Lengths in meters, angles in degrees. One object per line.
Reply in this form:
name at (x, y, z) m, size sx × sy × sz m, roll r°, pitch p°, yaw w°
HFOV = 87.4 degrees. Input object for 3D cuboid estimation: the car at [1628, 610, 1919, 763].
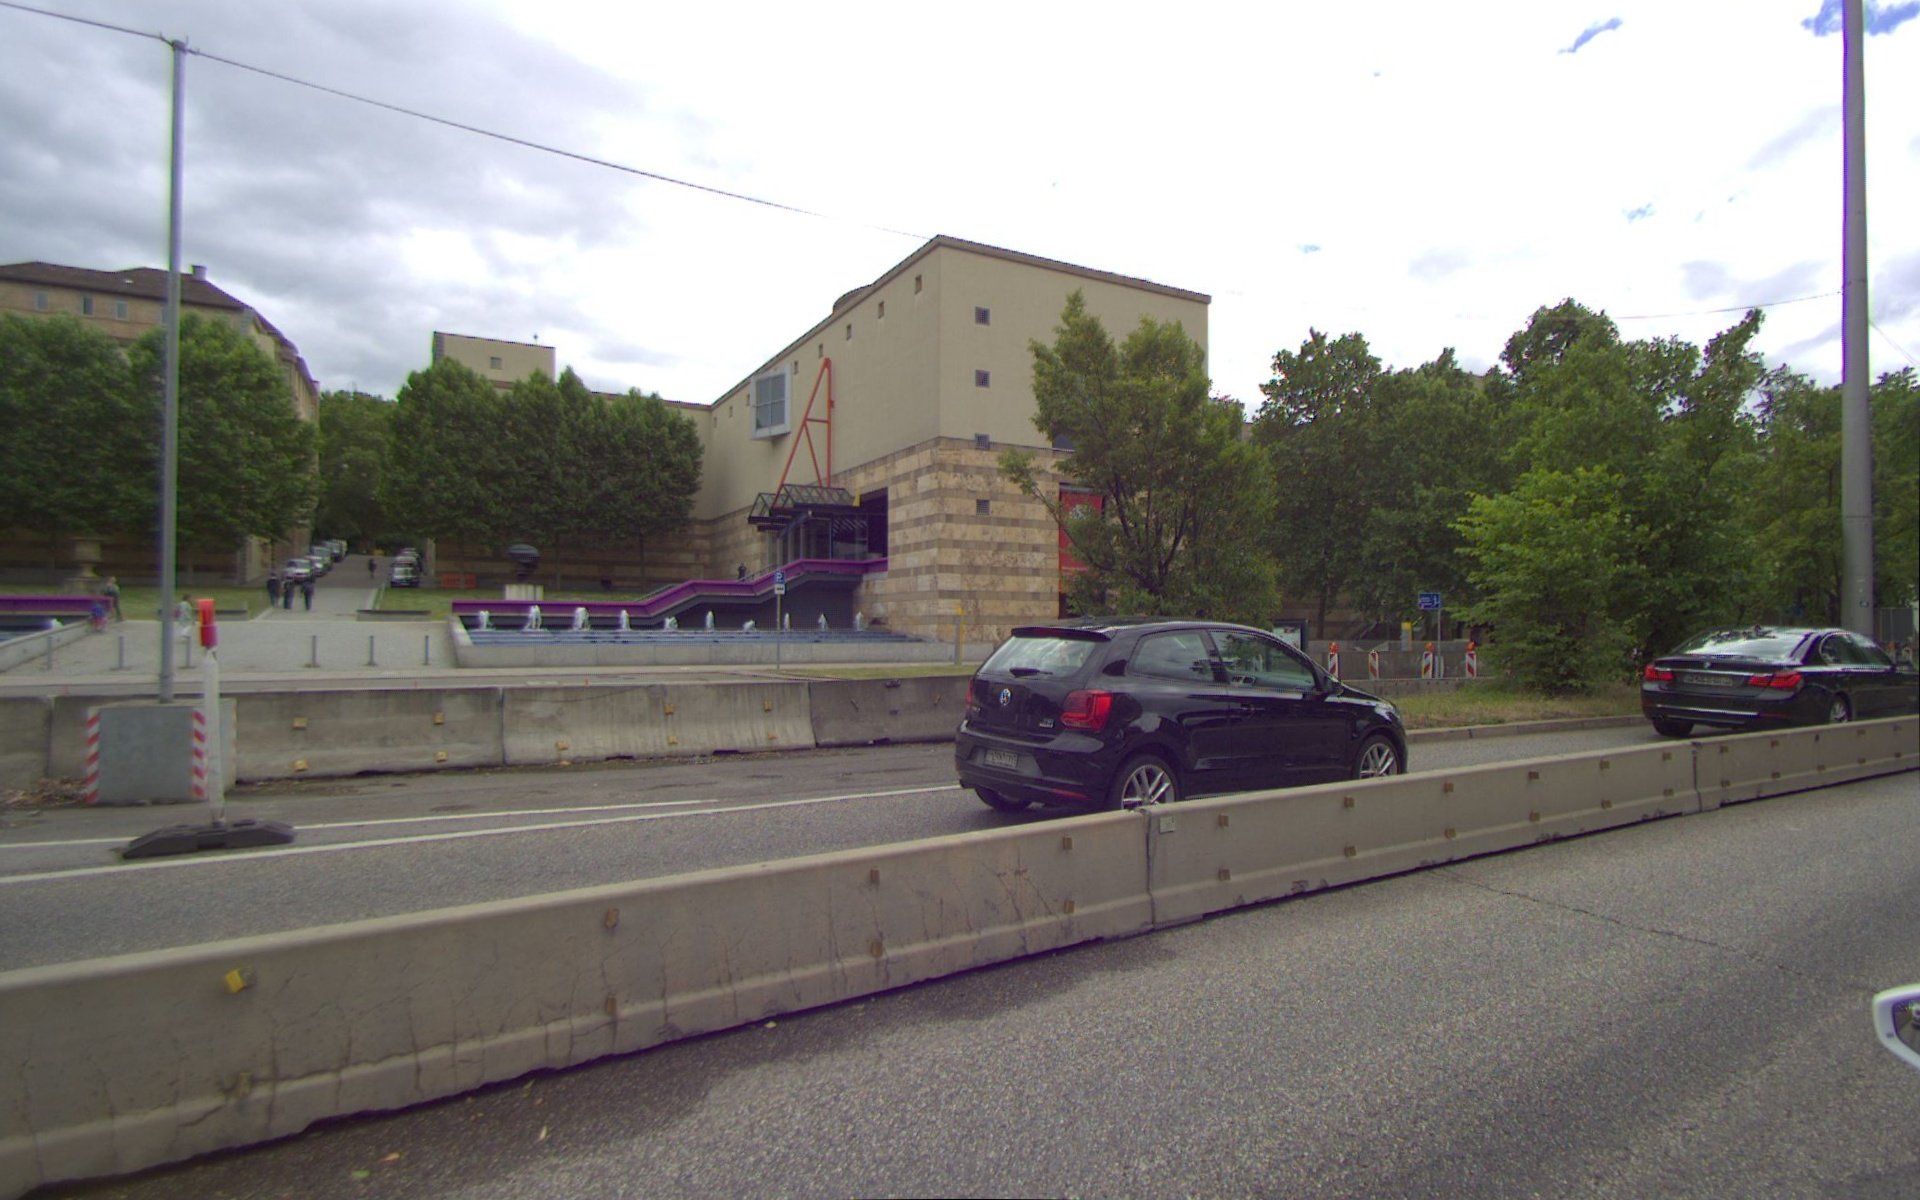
car at (10.911, 1.017, 13.187) m, size 4.887 × 1.657 × 1.911 m, roll 2°, pitch -1°, yaw -35°

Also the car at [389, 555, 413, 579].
car at (-45.404, -2.664, 81.600) m, size 1.591 × 1.821 × 3.777 m, roll 2°, pitch 0°, yaw -30°

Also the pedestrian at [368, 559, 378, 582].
pedestrian at (-46.187, -2.302, 79.040) m, size 0.535 × 1.808 × 0.464 m, roll 2°, pitch -1°, yaw -27°

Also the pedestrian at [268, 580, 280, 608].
pedestrian at (-35.736, -0.286, 52.348) m, size 0.472 × 1.441 × 0.402 m, roll 1°, pitch 0°, yaw -31°

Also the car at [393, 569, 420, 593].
car at (-38.679, -1.306, 70.192) m, size 1.591 × 1.557 × 3.777 m, roll 2°, pitch 0°, yaw -30°

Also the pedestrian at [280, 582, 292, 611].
pedestrian at (-34.434, -0.181, 51.331) m, size 0.472 × 1.441 × 0.402 m, roll 1°, pitch 0°, yaw -31°

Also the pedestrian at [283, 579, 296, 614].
pedestrian at (-33.897, -0.181, 50.792) m, size 0.472 × 1.772 × 0.642 m, roll 1°, pitch 0°, yaw -31°

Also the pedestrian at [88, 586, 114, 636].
pedestrian at (-30.132, 0.384, 35.234) m, size 0.520 × 1.717 × 0.693 m, roll 1°, pitch 0°, yaw -30°

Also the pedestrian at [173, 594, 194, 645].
pedestrian at (-26.296, 0.658, 34.012) m, size 0.522 × 1.717 × 0.690 m, roll 1°, pitch 0°, yaw -40°

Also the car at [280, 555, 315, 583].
car at (-47.390, -2.186, 71.951) m, size 1.589 × 1.821 × 3.782 m, roll 1°, pitch 0°, yaw -26°

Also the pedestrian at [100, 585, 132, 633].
pedestrian at (-33.538, 0.344, 39.914) m, size 0.794 × 1.877 × 0.689 m, roll 2°, pitch 0°, yaw -29°

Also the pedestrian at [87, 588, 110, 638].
pedestrian at (-29.828, 0.445, 34.767) m, size 0.520 × 1.717 × 0.340 m, roll 1°, pitch 0°, yaw -30°

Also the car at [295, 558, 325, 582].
car at (-51.079, -2.330, 79.019) m, size 1.590 × 1.821 × 3.780 m, roll 1°, pitch 0°, yaw -28°

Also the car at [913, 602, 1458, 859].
car at (1.847, 0.803, 7.637) m, size 4.155 × 1.473 × 1.649 m, roll 2°, pitch -1°, yaw -34°

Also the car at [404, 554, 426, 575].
car at (-51.091, -3.295, 94.226) m, size 1.589 × 1.821 × 3.782 m, roll 2°, pitch 0°, yaw -26°

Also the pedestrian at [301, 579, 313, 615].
pedestrian at (-33.250, -0.146, 51.160) m, size 0.472 × 1.772 × 0.642 m, roll 1°, pitch 0°, yaw -31°

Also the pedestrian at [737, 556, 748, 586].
pedestrian at (-15.212, -2.026, 70.396) m, size 0.594 × 2.040 × 0.409 m, roll 2°, pitch 0°, yaw -30°
